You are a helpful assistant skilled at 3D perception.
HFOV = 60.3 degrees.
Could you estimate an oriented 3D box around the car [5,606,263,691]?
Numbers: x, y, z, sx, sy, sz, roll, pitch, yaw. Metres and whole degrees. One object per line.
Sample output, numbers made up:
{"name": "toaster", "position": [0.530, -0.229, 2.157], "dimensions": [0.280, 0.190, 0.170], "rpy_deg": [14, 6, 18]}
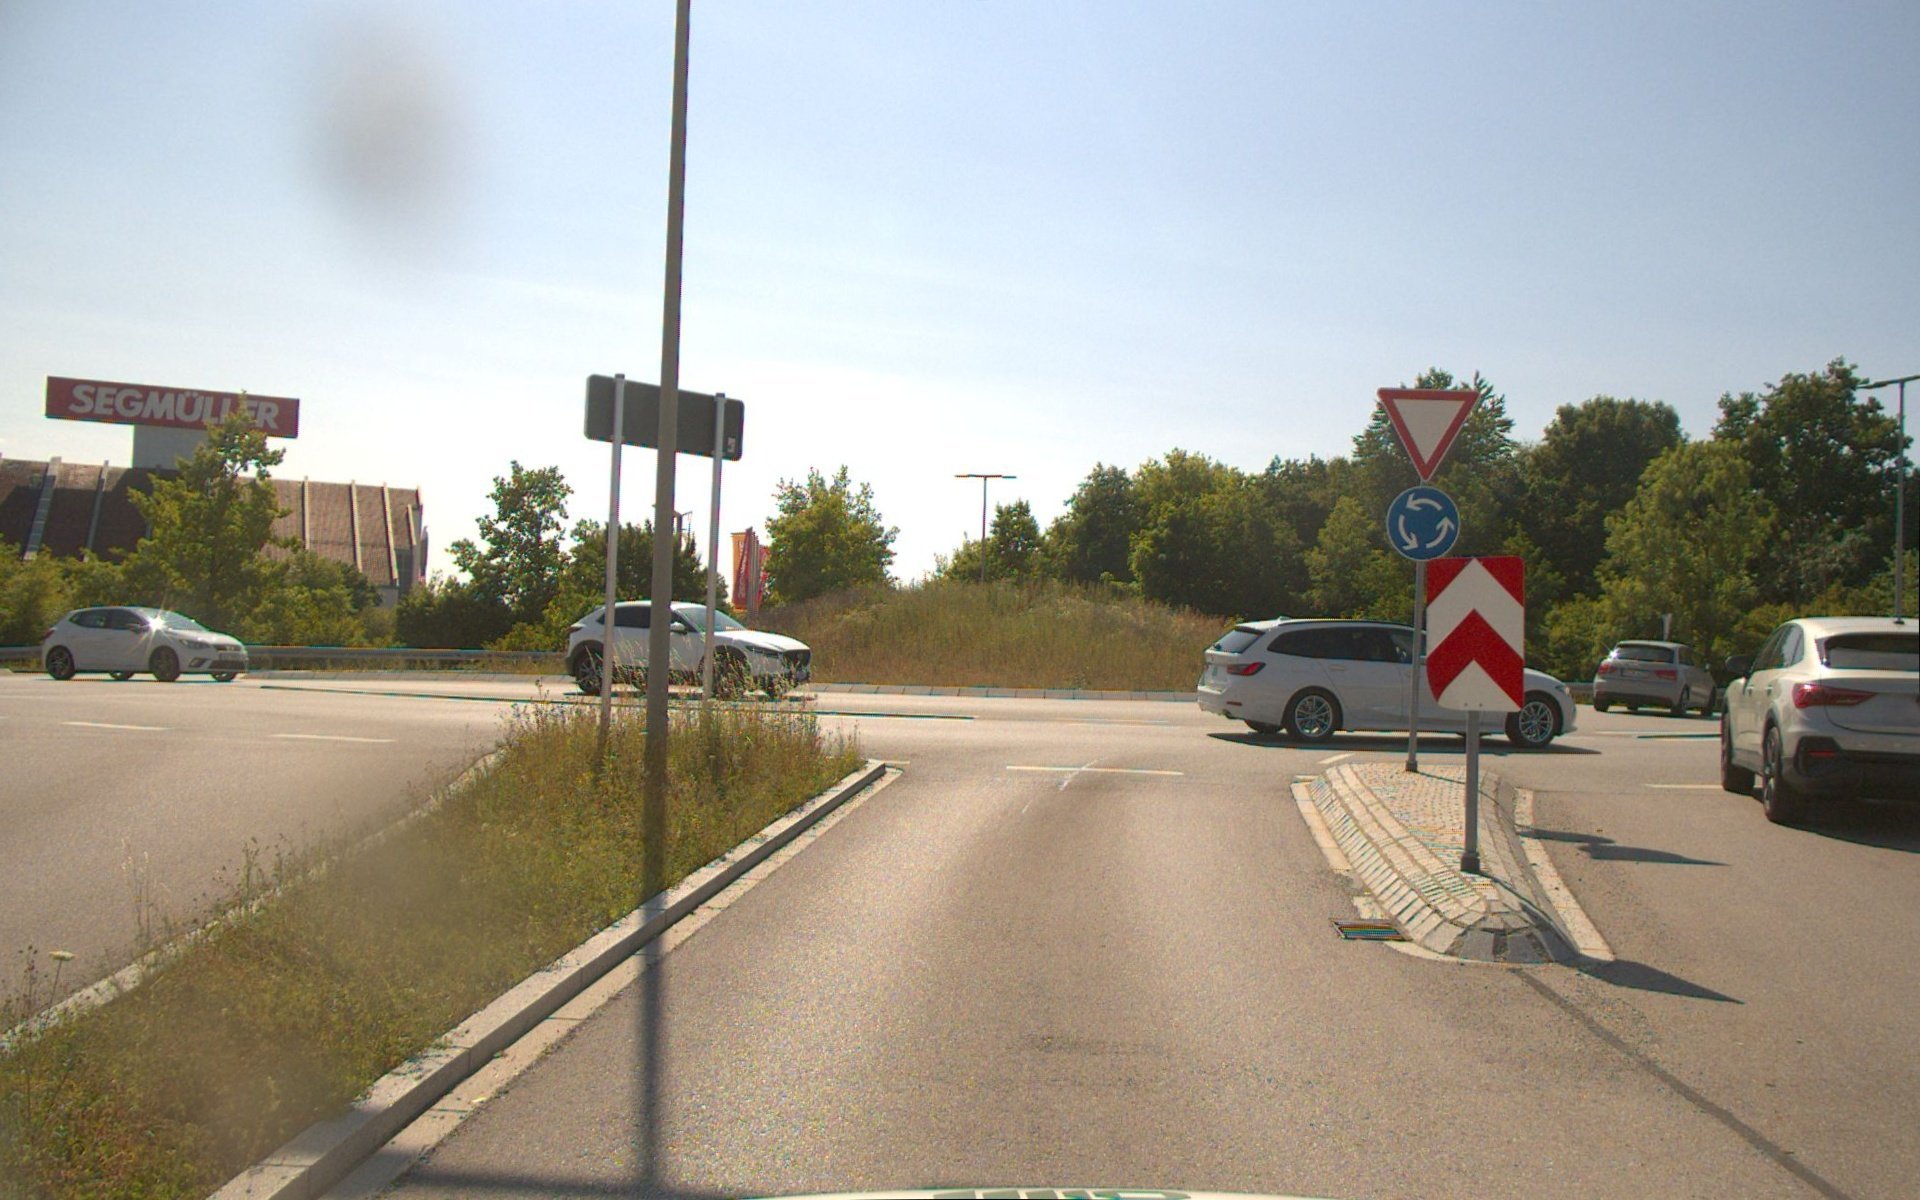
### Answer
{"name": "car", "position": [-16.134, 0.937, 32.354], "dimensions": [4.309, 1.429, 1.793], "rpy_deg": [2, -1, 13]}

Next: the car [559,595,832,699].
{"name": "car", "position": [-4.413, 0.762, 27.581], "dimensions": [4.188, 1.557, 1.790], "rpy_deg": [1, -1, 24]}

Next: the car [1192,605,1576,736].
{"name": "car", "position": [5.127, 0.845, 20.239], "dimensions": [4.243, 1.375, 1.571], "rpy_deg": [3, -1, -6]}

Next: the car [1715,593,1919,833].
{"name": "car", "position": [7.351, 0.832, 13.347], "dimensions": [1.803, 1.624, 4.326], "rpy_deg": [1, -1, 18]}

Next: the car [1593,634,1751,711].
{"name": "car", "position": [14.128, 1.443, 32.729], "dimensions": [3.738, 1.375, 1.507], "rpy_deg": [3, -1, -43]}
